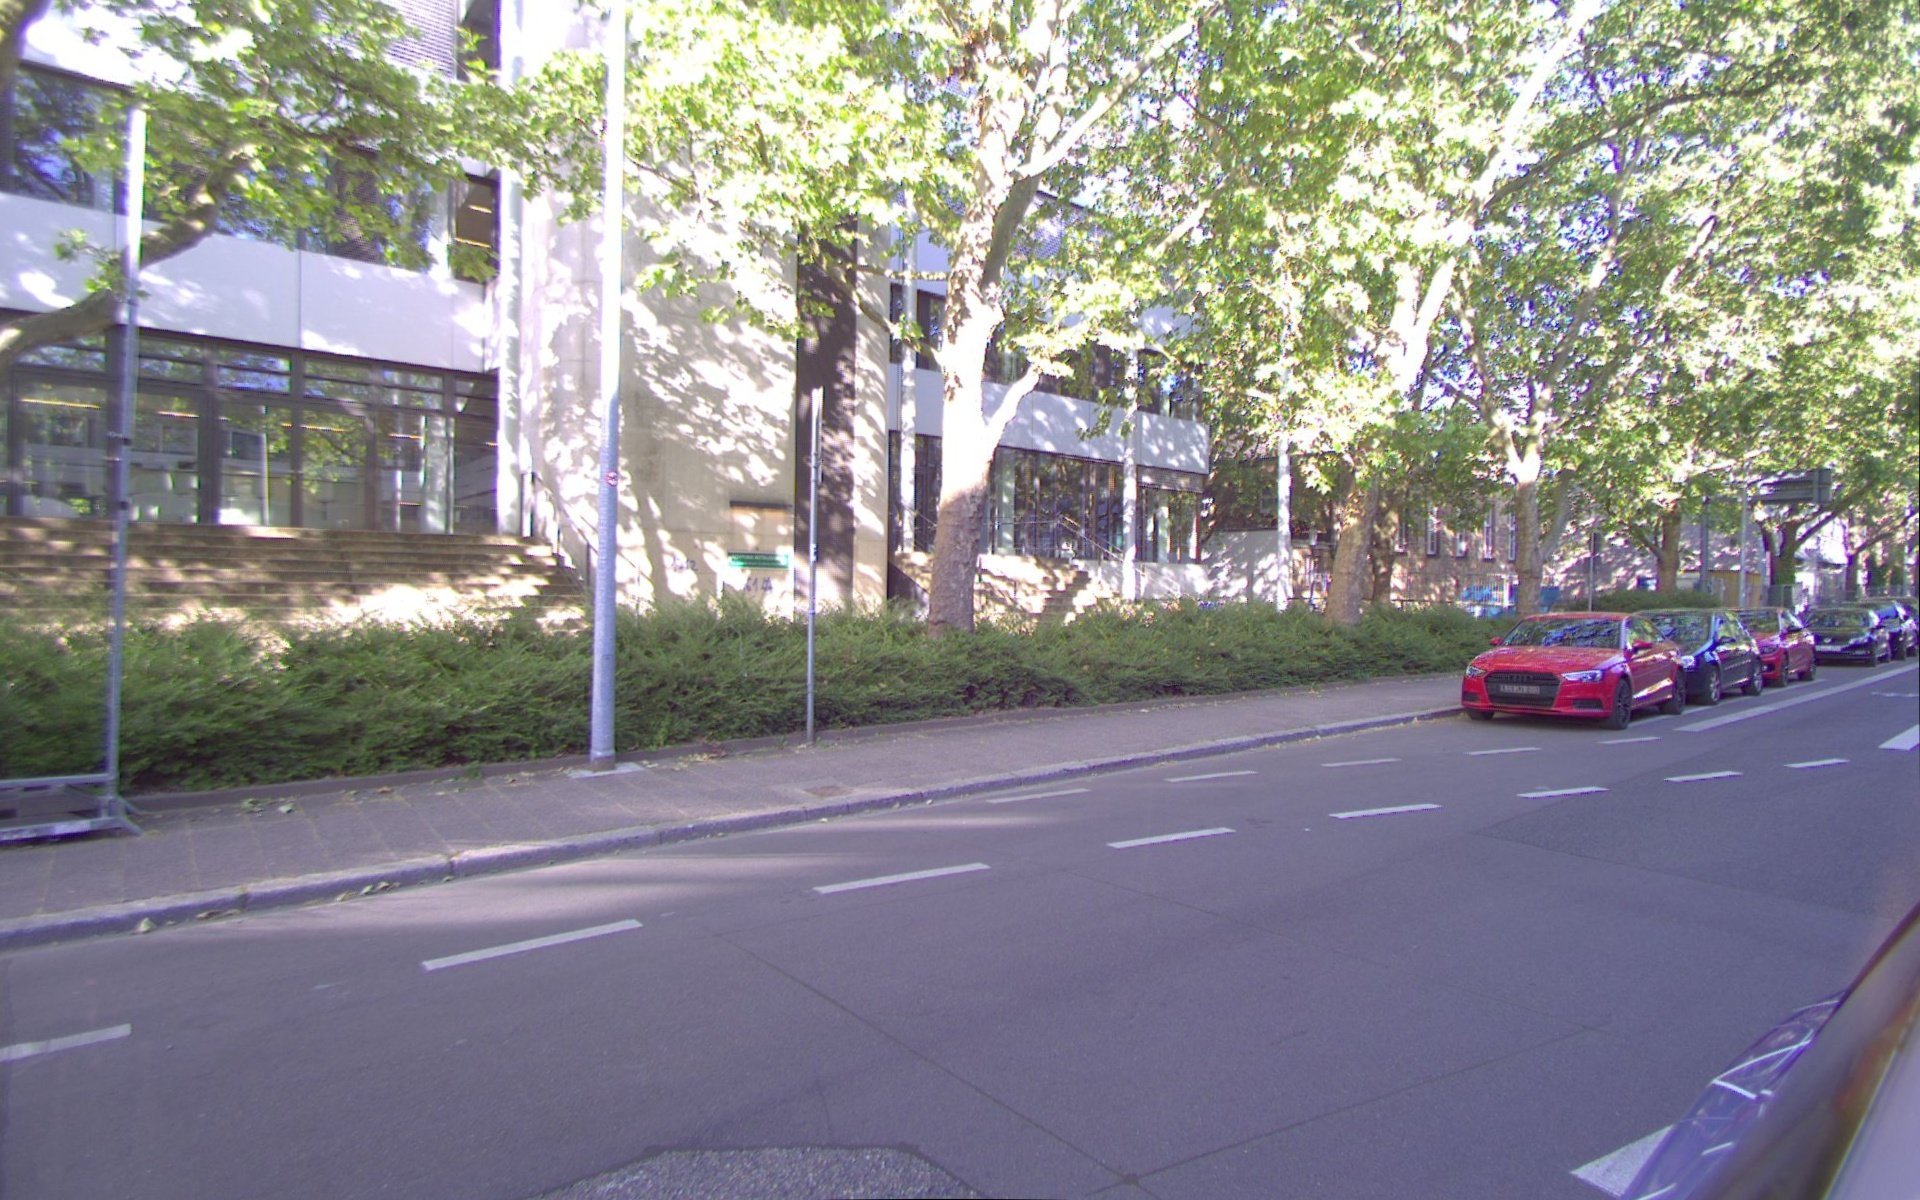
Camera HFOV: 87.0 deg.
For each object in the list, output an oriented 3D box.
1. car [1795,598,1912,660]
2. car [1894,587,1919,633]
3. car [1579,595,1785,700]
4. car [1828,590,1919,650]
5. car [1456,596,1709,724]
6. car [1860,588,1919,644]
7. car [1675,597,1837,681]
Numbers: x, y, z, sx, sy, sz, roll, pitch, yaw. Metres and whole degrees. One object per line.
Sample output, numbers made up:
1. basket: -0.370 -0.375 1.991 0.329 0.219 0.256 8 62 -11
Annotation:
1. car: 22.979 0.679 26.000 3.930 1.456 1.744 0 1 -41
2. car: 35.736 0.360 37.080 4.004 1.638 1.797 0 1 -41
3. car: 11.835 0.679 16.513 3.929 1.475 1.812 0 1 -40
4. car: 26.643 0.522 29.198 4.158 1.601 1.847 0 1 -41
5. car: 8.376 0.683 13.470 4.101 1.443 1.773 0 -1 -42
6. car: 31.077 0.479 33.059 4.188 1.747 1.997 -1 0 -41
7. car: 15.712 0.687 19.922 3.930 1.456 1.789 0 1 -41
